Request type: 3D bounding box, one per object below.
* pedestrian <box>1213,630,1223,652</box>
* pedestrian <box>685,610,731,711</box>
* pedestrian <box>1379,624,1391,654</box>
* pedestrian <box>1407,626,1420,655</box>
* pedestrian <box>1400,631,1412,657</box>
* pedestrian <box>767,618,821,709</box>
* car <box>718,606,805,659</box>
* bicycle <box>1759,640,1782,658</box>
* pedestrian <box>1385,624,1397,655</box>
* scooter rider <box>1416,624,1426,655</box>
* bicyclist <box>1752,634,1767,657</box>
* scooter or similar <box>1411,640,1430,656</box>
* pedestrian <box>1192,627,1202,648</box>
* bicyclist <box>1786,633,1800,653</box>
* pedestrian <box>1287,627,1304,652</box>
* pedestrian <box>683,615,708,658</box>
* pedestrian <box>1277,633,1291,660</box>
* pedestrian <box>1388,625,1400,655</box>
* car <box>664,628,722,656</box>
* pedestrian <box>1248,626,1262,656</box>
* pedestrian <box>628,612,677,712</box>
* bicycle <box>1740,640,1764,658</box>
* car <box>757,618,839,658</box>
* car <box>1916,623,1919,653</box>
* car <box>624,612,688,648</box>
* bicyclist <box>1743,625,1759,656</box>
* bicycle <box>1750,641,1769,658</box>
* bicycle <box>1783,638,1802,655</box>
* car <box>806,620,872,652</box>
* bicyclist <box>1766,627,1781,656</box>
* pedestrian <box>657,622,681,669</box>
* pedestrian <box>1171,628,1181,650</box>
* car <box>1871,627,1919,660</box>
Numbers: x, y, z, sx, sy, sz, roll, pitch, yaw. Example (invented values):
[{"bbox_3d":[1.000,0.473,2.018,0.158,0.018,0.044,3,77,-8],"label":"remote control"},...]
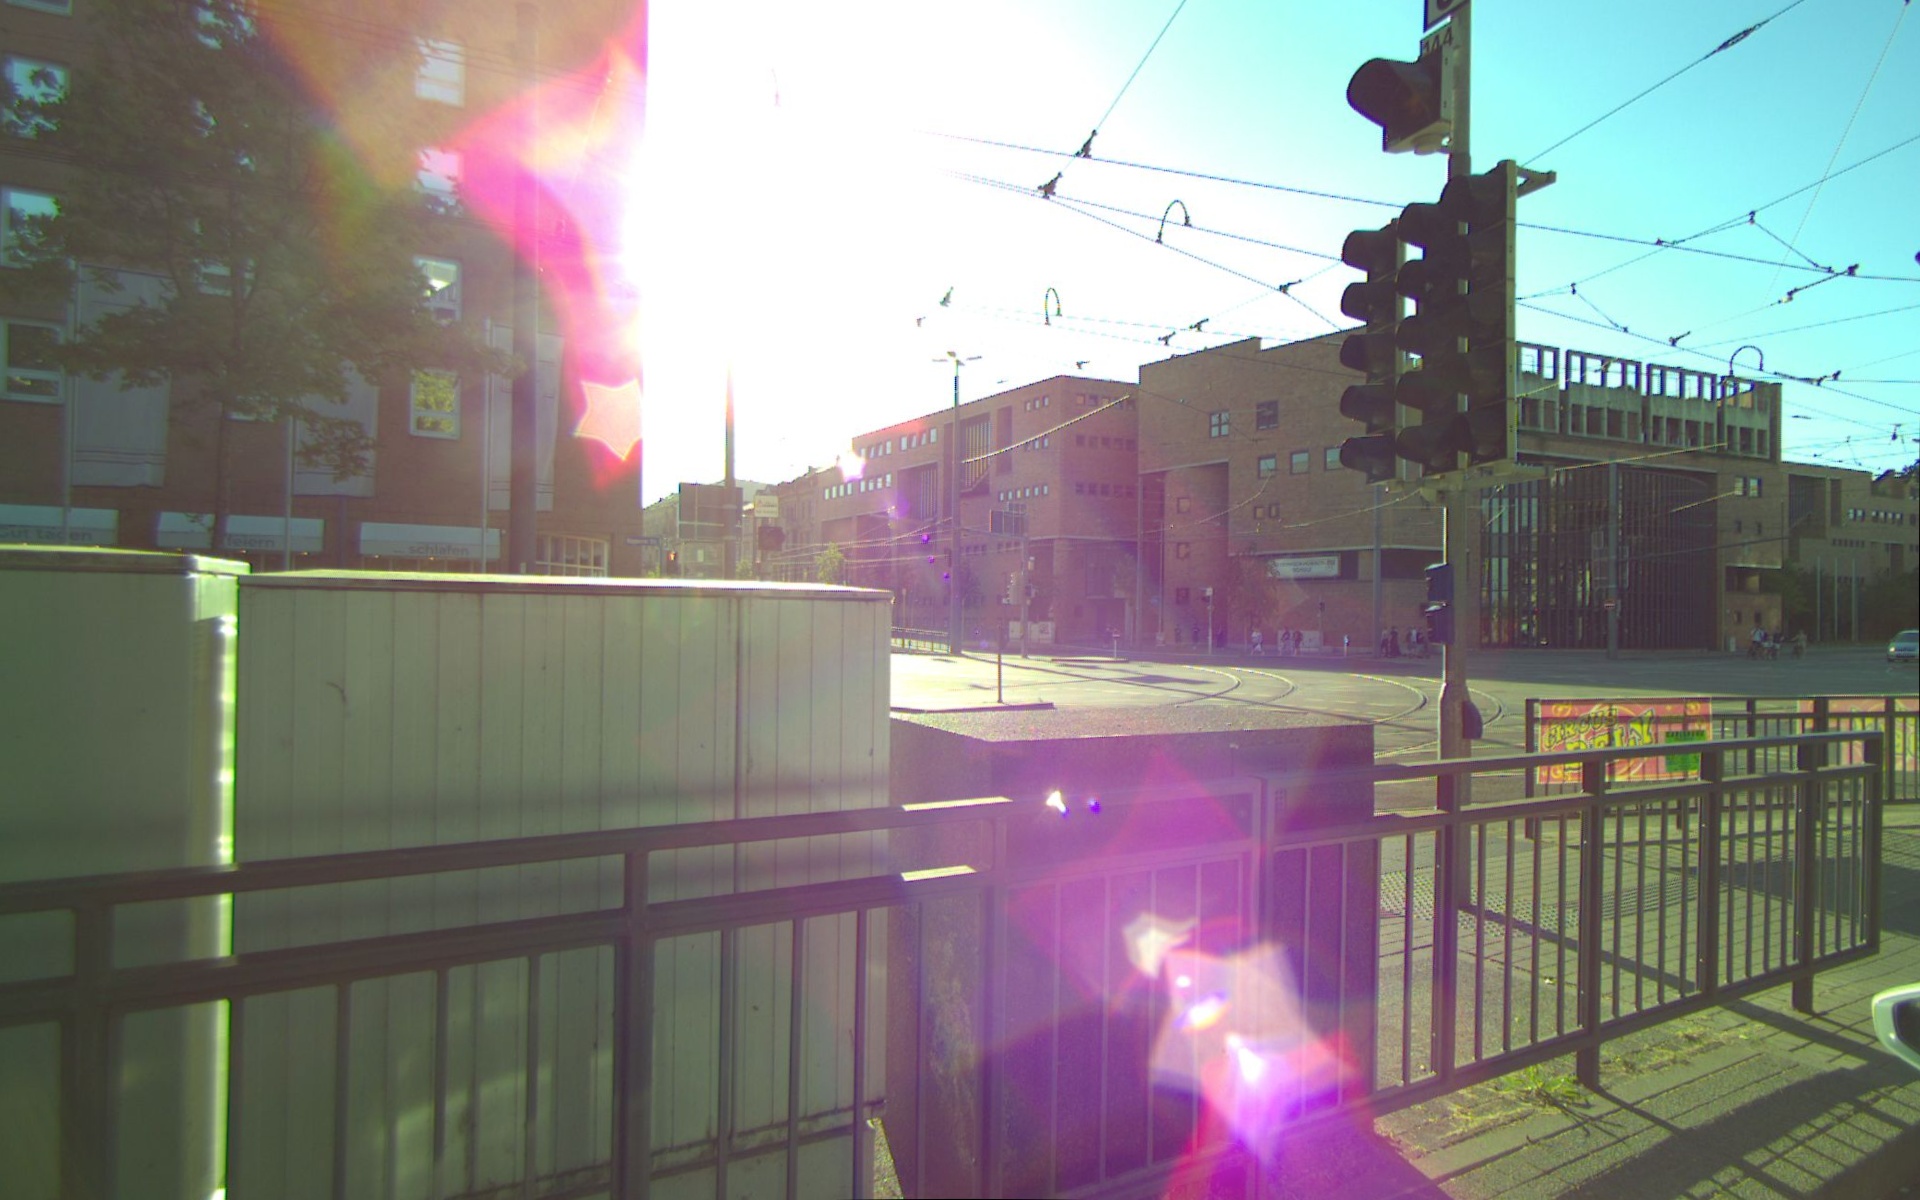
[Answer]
[{"bbox_3d":[17.348,2.753,67.557,0.463,1.482,0.505,1,-1,-37],"label":"pedestrian"},{"bbox_3d":[-4.794,1.128,19.078,0.647,1.864,0.835,1,-1,-28],"label":"pedestrian"},{"bbox_3d":[24.357,2.231,57.543,0.610,1.706,0.650,0,-1,25],"label":"pedestrian"},{"bbox_3d":[26.234,2.345,58.057,0.606,1.647,0.613,0,-1,16],"label":"pedestrian"},{"bbox_3d":[25.406,2.494,57.254,0.588,1.440,0.642,0,-1,19],"label":"pedestrian"},{"bbox_3d":[-3.172,1.187,19.162,0.709,1.669,0.953,1,-1,-30],"label":"pedestrian"},{"bbox_3d":[-9.536,1.525,48.053,1.982,2.419,5.156,1,-2,-38],"label":"car"},{"bbox_3d":[44.917,2.694,55.632,1.557,0.976,0.470,1,-1,-30],"label":"bicycle"},{"bbox_3d":[24.289,2.229,56.607,0.540,1.706,0.592,0,-1,16],"label":"pedestrian"},{"bbox_3d":[25.425,2.167,55.385,0.429,1.669,0.229,0,-1,15],"label":"scooter rider"},{"bbox_3d":[46.687,2.652,58.636,0.574,1.321,0.503,1,-1,-30],"label":"bicyclist"},{"bbox_3d":[25.374,2.644,55.375,0.931,0.911,0.176,0,-1,14],"label":"scooter or similar"},{"bbox_3d":[16.485,2.609,69.935,0.549,1.445,0.556,0,-1,1],"label":"pedestrian"},{"bbox_3d":[49.370,2.556,59.535,0.574,1.194,0.503,1,-1,-30],"label":"bicyclist"},{"bbox_3d":[18.613,2.188,55.678,0.670,1.357,0.602,1,-1,-18],"label":"pedestrian"},{"bbox_3d":[-12.727,1.744,48.298,0.856,2.040,0.880,2,0,-39],"label":"pedestrian"},{"bbox_3d":[18.438,2.646,57.142,0.602,1.473,0.570,0,-1,-1],"label":"pedestrian"},{"bbox_3d":[25.214,2.307,58.354,0.538,1.706,0.574,0,-1,12],"label":"pedestrian"},{"bbox_3d":[-14.339,2.226,53.872,1.729,1.372,3.960,1,-2,-36],"label":"car"},{"bbox_3d":[16.394,2.259,55.758,0.539,1.670,0.600,1,-1,-9],"label":"pedestrian"},{"bbox_3d":[-5.855,1.163,19.109,0.713,1.837,0.904,1,-1,-28],"label":"pedestrian"},{"bbox_3d":[44.429,2.735,56.360,1.568,0.976,0.539,1,-1,-30],"label":"bicycle"},{"bbox_3d":[-8.398,1.915,51.768,1.982,1.928,5.156,1,-2,-38],"label":"car"},{"bbox_3d":[55.248,2.115,55.896,3.954,1.661,1.983,1,-2,-31],"label":"car"},{"bbox_3d":[-18.515,1.805,61.013,1.982,2.122,5.156,1,-2,-38],"label":"car"},{"bbox_3d":[44.367,2.266,56.330,0.574,1.754,0.534,1,-1,-30],"label":"bicyclist"},{"bbox_3d":[46.667,2.884,58.632,1.304,0.976,0.465,1,-1,-30],"label":"bicycle"},{"bbox_3d":[49.395,2.743,59.567,1.332,0.976,0.449,1,-1,-30],"label":"bicycle"},{"bbox_3d":[-6.655,1.935,55.043,1.980,1.572,3.961,2,0,-35],"label":"car"},{"bbox_3d":[45.090,2.306,55.649,0.574,1.624,0.456,1,-1,-30],"label":"bicyclist"},{"bbox_3d":[-10.585,1.640,36.550,0.658,1.669,0.638,1,-1,-34],"label":"pedestrian"},{"bbox_3d":[15.076,2.709,69.993,0.524,1.482,0.590,1,-1,-7],"label":"pedestrian"},{"bbox_3d":[48.979,2.228,51.782,3.954,1.661,1.983,1,-2,-31],"label":"car"}]
